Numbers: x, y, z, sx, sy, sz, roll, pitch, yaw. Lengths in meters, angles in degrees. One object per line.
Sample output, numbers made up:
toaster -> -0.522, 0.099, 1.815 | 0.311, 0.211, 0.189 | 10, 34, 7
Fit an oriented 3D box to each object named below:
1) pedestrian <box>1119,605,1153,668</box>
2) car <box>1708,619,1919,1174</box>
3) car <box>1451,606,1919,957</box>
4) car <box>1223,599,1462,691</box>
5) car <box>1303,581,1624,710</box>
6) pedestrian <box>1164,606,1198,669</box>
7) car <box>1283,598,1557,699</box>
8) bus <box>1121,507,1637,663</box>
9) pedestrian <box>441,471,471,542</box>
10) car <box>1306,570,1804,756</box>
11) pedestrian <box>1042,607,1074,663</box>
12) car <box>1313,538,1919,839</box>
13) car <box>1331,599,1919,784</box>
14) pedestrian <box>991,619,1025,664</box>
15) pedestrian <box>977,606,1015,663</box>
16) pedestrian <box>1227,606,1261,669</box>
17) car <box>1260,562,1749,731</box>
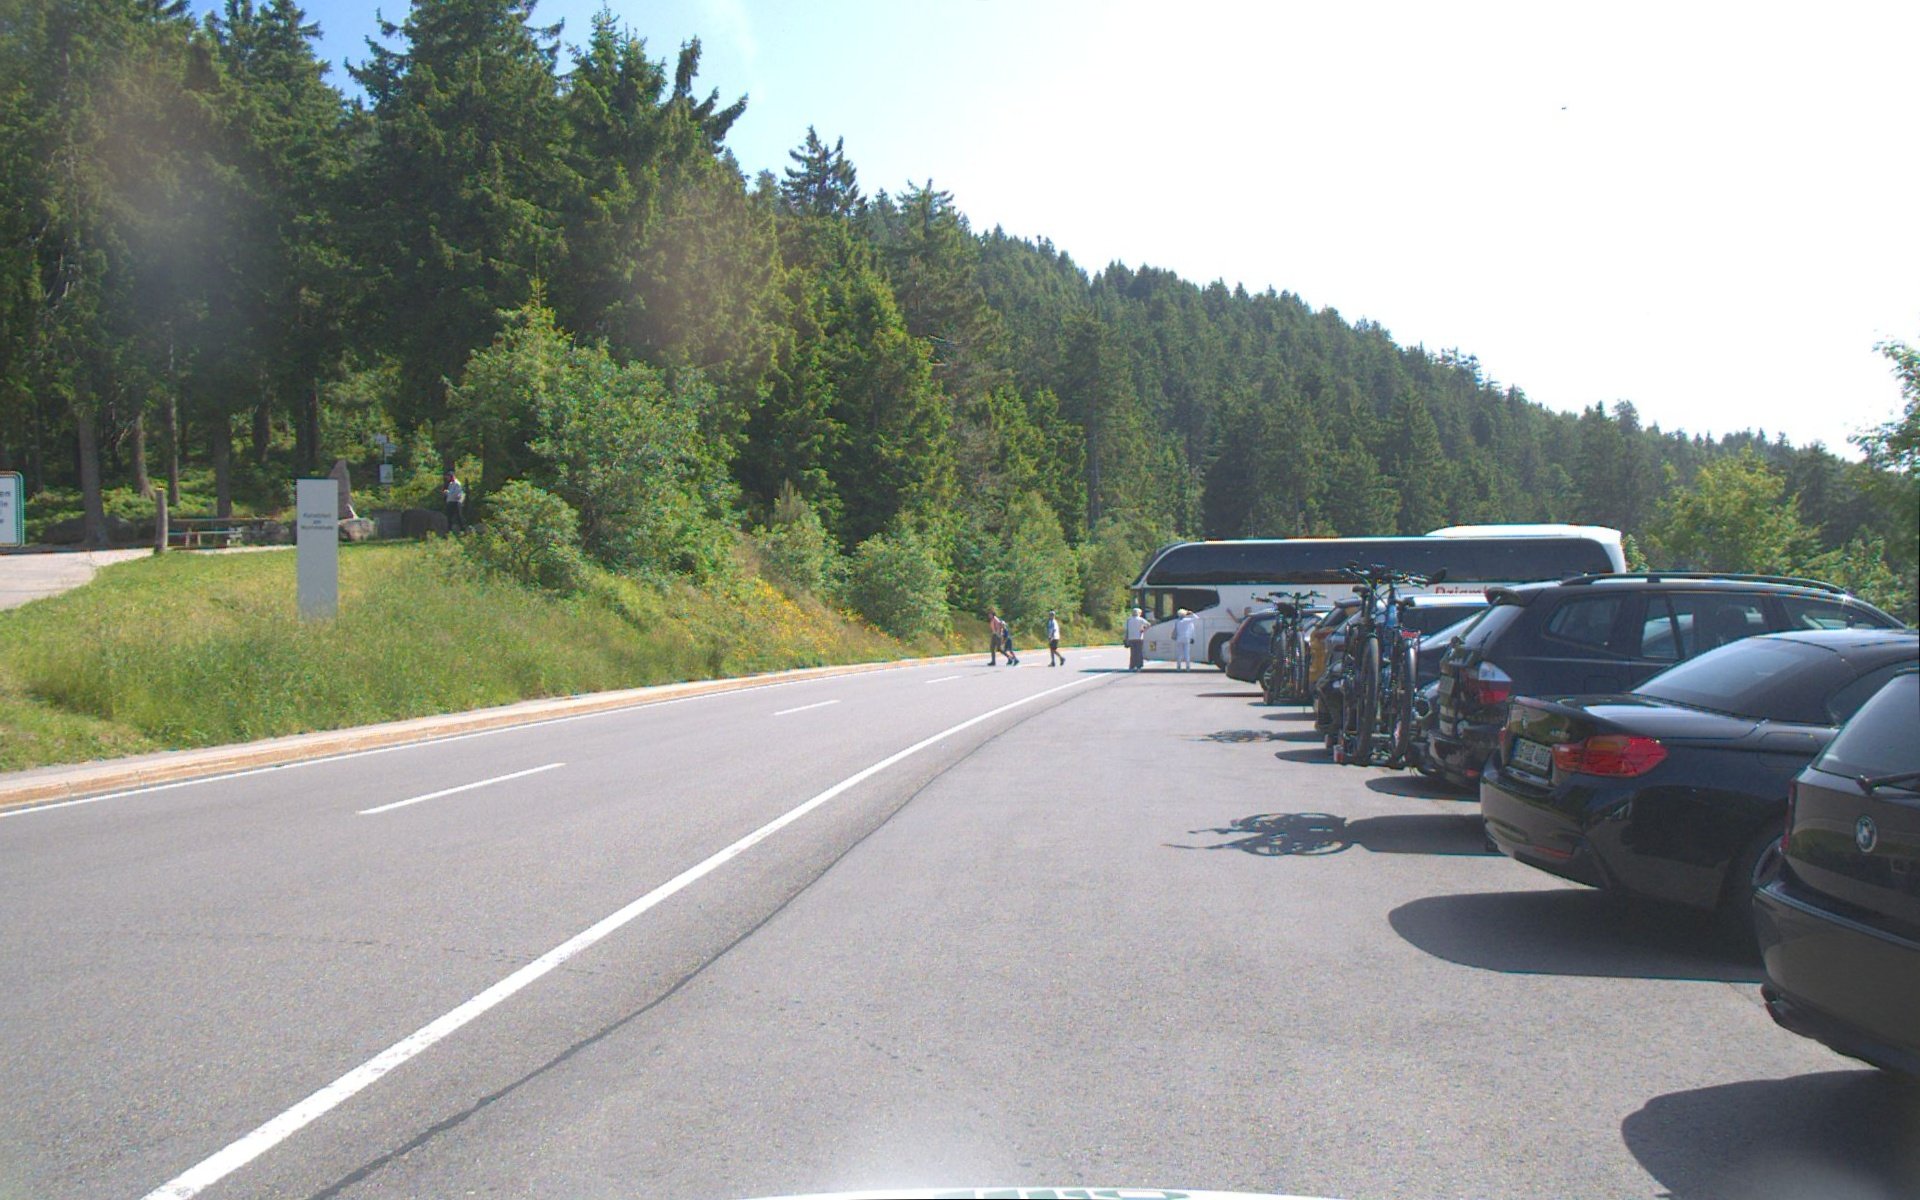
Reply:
pedestrian -> 4.623, 0.962, 43.424 | 0.754, 1.613, 0.773 | -2, -1, 13
car -> 4.439, 0.797, 4.555 | 3.999, 1.400, 1.701 | 1, 0, -3
car -> 4.501, 0.767, 7.583 | 3.997, 1.400, 1.702 | 1, 0, 0
car -> 6.681, 0.780, 29.232 | 3.902, 1.474, 1.862 | -2, 0, 7
car -> 6.728, 0.609, 22.453 | 3.902, 1.581, 1.661 | -2, 0, 7
pedestrian -> 5.781, 0.965, 43.189 | 0.754, 1.613, 0.773 | -2, -1, 13
car -> 7.130, 0.747, 25.956 | 3.902, 1.422, 1.621 | -2, 0, 7
bus -> 10.953, -0.303, 44.092 | 12.817, 3.594, 3.045 | -2, -1, 17
pedestrian -> -13.815, -2.560, 45.351 | 0.669, 1.910, 0.540 | -2, -1, -13
car -> 5.546, 0.584, 15.895 | 4.153, 1.581, 1.839 | -2, 0, 7
pedestrian -> 2.876, 1.029, 48.765 | 0.836, 1.613, 0.818 | -2, -1, -2
car -> 4.803, 0.524, 10.579 | 4.843, 1.725, 1.947 | -1, 0, 9
car -> 5.203, 0.699, 13.278 | 4.153, 1.291, 1.839 | -2, 0, 7
pedestrian -> 1.440, 1.236, 49.606 | 0.725, 1.302, 0.777 | -1, -1, -26
pedestrian -> 1.091, 1.041, 50.390 | 0.842, 1.713, 0.863 | -1, -1, -24
pedestrian -> 7.429, 0.977, 43.257 | 0.753, 1.613, 0.773 | -2, -1, 15
car -> 5.989, 0.515, 18.772 | 4.927, 1.680, 2.049 | -2, 0, 7
